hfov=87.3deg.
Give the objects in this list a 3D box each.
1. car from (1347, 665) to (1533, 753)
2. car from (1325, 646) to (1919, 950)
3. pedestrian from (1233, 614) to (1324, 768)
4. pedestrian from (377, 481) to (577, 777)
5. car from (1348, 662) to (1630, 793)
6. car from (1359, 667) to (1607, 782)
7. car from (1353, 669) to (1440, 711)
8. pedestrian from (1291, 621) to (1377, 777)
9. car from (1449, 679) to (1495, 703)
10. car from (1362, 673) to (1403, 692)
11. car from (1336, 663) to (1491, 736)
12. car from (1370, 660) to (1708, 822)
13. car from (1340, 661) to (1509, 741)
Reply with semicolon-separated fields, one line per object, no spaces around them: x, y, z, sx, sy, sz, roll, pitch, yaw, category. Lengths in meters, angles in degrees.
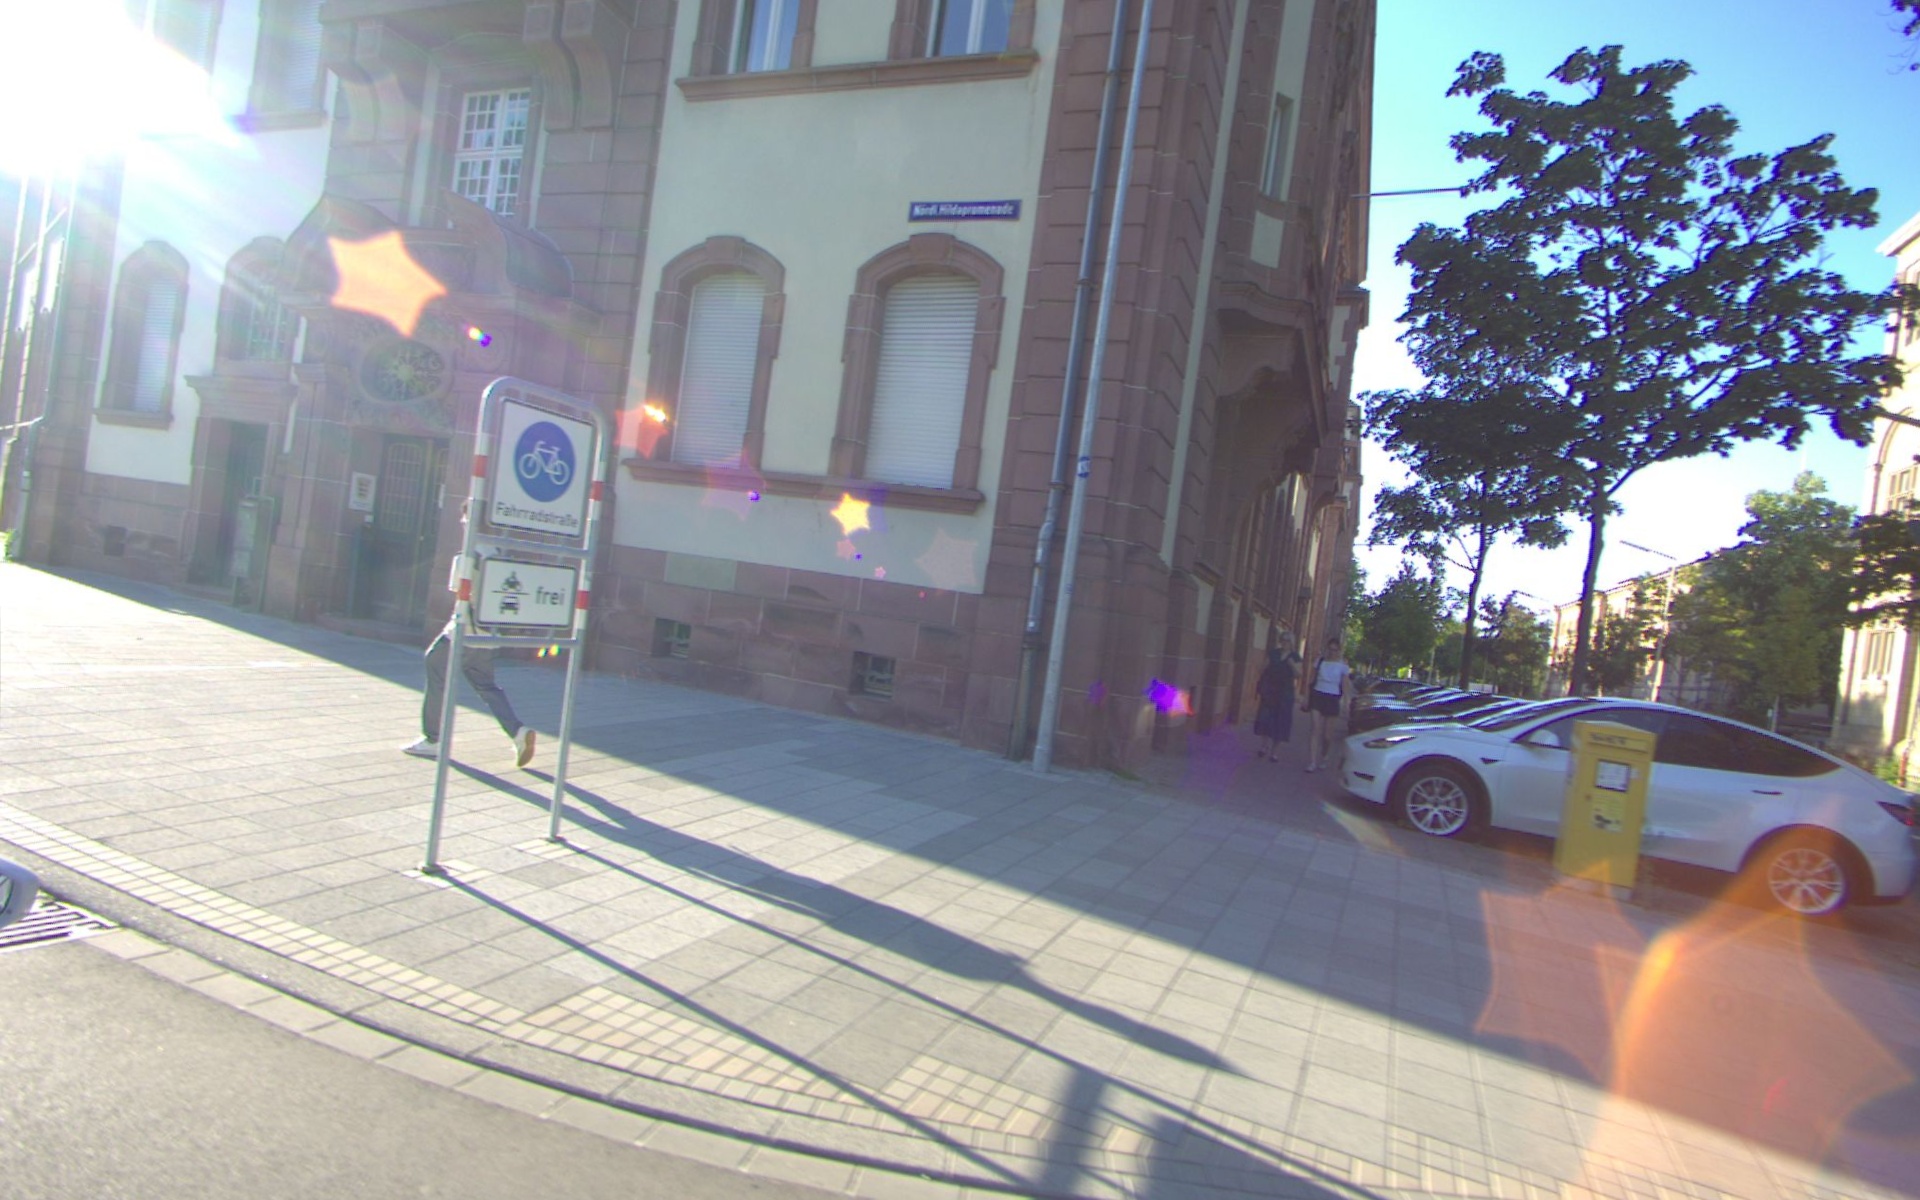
13.216;2.964;28.021;4.312;1.514;1.967;10;0;20;car
6.140;1.697;9.790;4.634;1.608;1.967;11;1;20;car
4.215;1.186;13.300;0.776;1.862;0.716;10;1;25;pedestrian
-3.172;0.168;6.603;0.985;1.742;0.533;8;3;24;pedestrian
9.846;2.329;19.169;4.312;1.514;1.967;10;0;20;car
11.035;2.579;21.624;4.312;1.514;1.967;10;0;20;car
24.764;5.078;57.230;4.313;1.514;1.967;10;0;22;car
4.841;1.269;13.009;0.713;1.862;0.612;10;2;25;pedestrian
62.191;11.003;122.251;4.634;2.128;2.000;8;0;23;car
47.855;9.308;114.041;4.028;1.512;1.932;8;0;23;car
14.842;3.235;33.215;4.312;1.514;1.967;10;0;20;car
9.211;2.182;16.486;4.312;1.604;1.967;10;1;20;car
13.955;3.008;30.516;4.312;1.514;1.967;10;0;20;car
